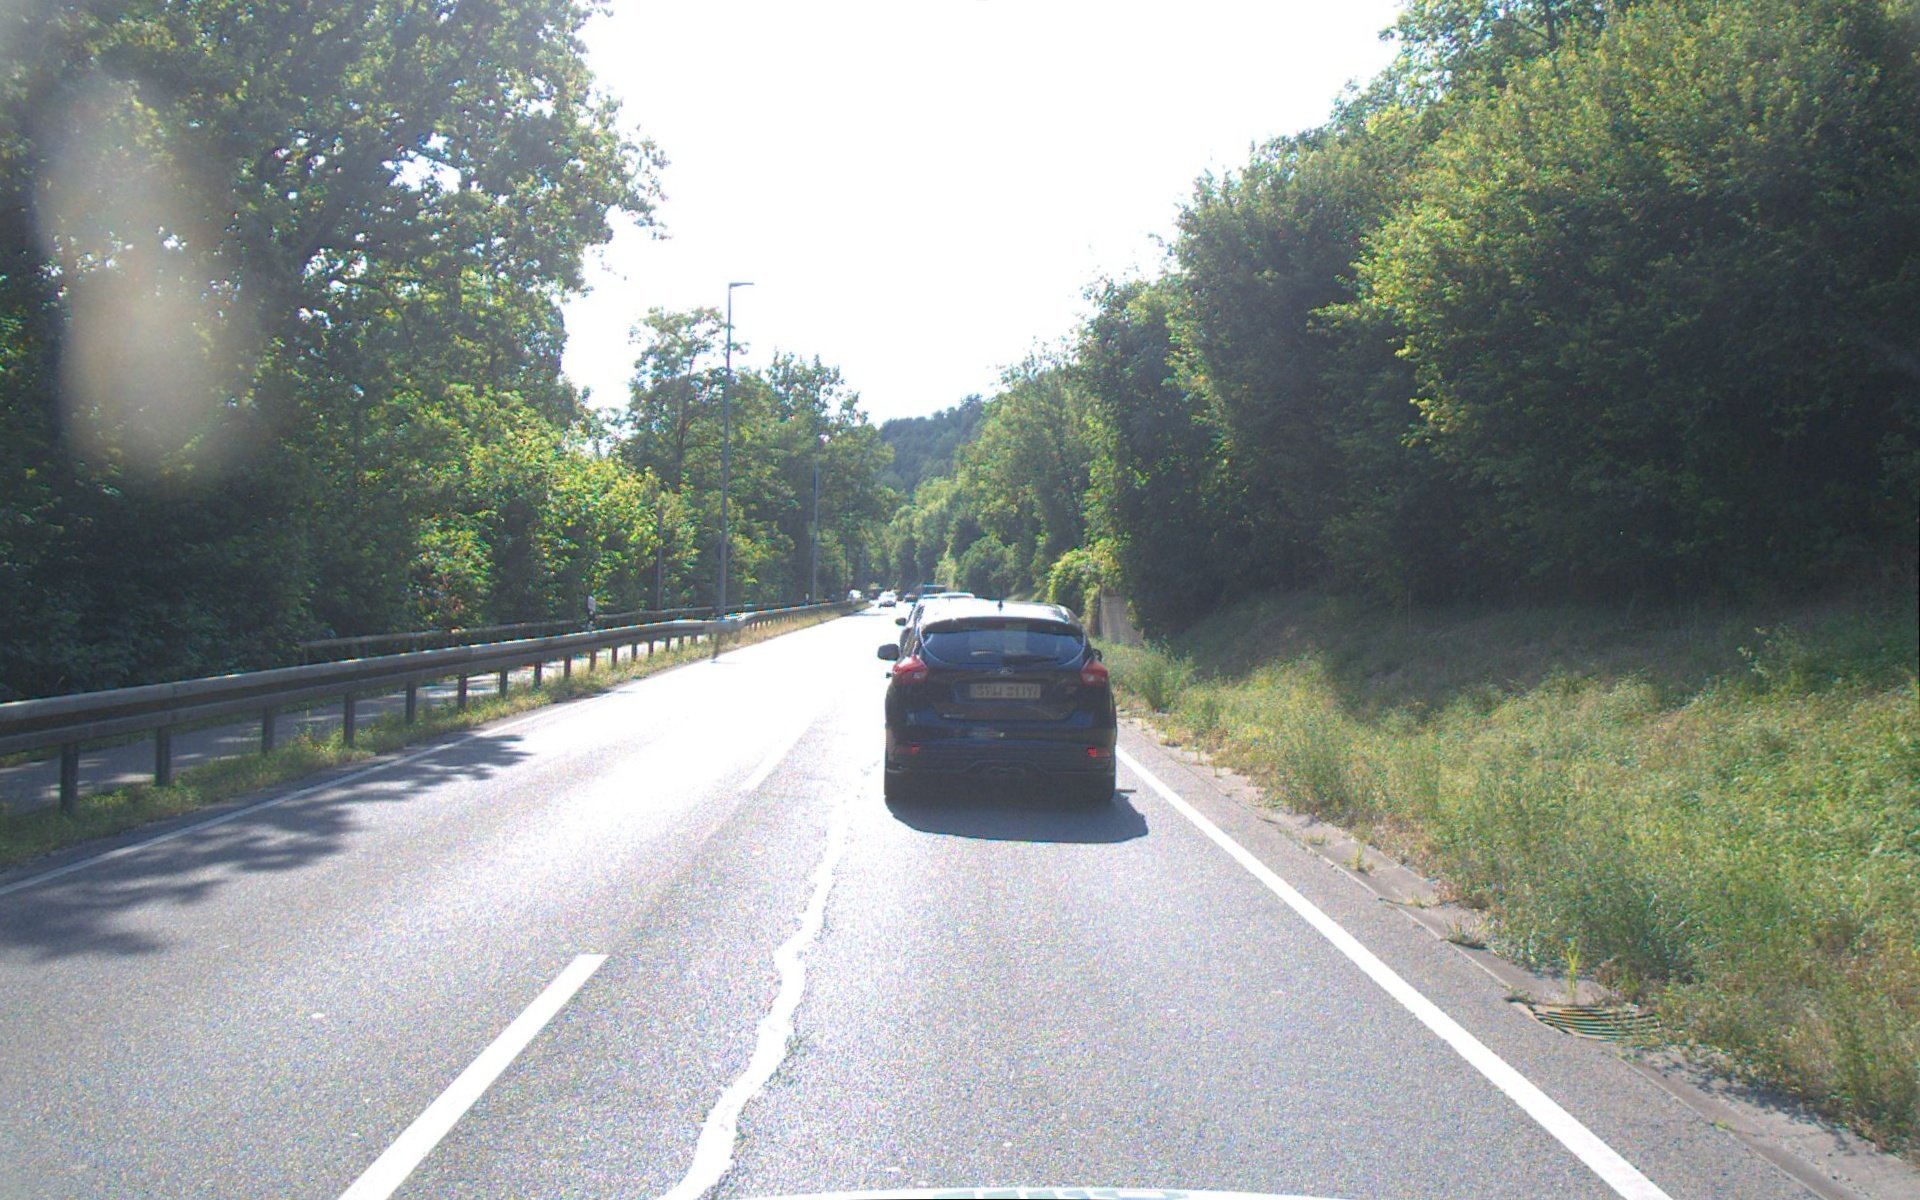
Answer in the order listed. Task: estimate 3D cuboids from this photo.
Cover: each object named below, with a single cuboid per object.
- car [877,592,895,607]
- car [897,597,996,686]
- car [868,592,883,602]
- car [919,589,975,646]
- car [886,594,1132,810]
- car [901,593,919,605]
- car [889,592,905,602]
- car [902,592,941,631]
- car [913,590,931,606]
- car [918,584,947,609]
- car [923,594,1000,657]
[{"bbox_3d":[-6.910,-0.048,155.630,1.590,1.401,4.046,-1,0,-1],"label":"car"},{"bbox_3d":[-0.201,0.686,29.415,1.627,1.443,4.000,0,0,1],"label":"car"},{"bbox_3d":[-13.159,-0.530,256.635,1.956,1.545,3.993,0,0,-8],"label":"car"},{"bbox_3d":[-0.407,0.500,49.971,1.597,1.624,3.999,0,0,-1],"label":"car"},{"bbox_3d":[0.318,0.713,13.556,1.704,1.482,3.999,1,0,-1],"label":"car"},{"bbox_3d":[-6.603,-0.149,220.003,1.956,1.545,3.993,0,0,-8],"label":"car"},{"bbox_3d":[-9.136,-0.434,240.219,1.956,1.545,3.993,0,0,-8],"label":"car"},{"bbox_3d":[-1.618,0.466,70.410,1.597,1.624,3.999,0,0,-1],"label":"car"},{"bbox_3d":[-3.797,-0.194,165.733,1.782,1.545,3.999,0,0,-1],"label":"car"},{"bbox_3d":[-2.019,-0.275,121.481,1.827,1.812,3.995,0,0,-5],"label":"car"},{"bbox_3d":[0.005,0.582,40.120,1.768,1.416,3.999,0,0,-1],"label":"car"}]
